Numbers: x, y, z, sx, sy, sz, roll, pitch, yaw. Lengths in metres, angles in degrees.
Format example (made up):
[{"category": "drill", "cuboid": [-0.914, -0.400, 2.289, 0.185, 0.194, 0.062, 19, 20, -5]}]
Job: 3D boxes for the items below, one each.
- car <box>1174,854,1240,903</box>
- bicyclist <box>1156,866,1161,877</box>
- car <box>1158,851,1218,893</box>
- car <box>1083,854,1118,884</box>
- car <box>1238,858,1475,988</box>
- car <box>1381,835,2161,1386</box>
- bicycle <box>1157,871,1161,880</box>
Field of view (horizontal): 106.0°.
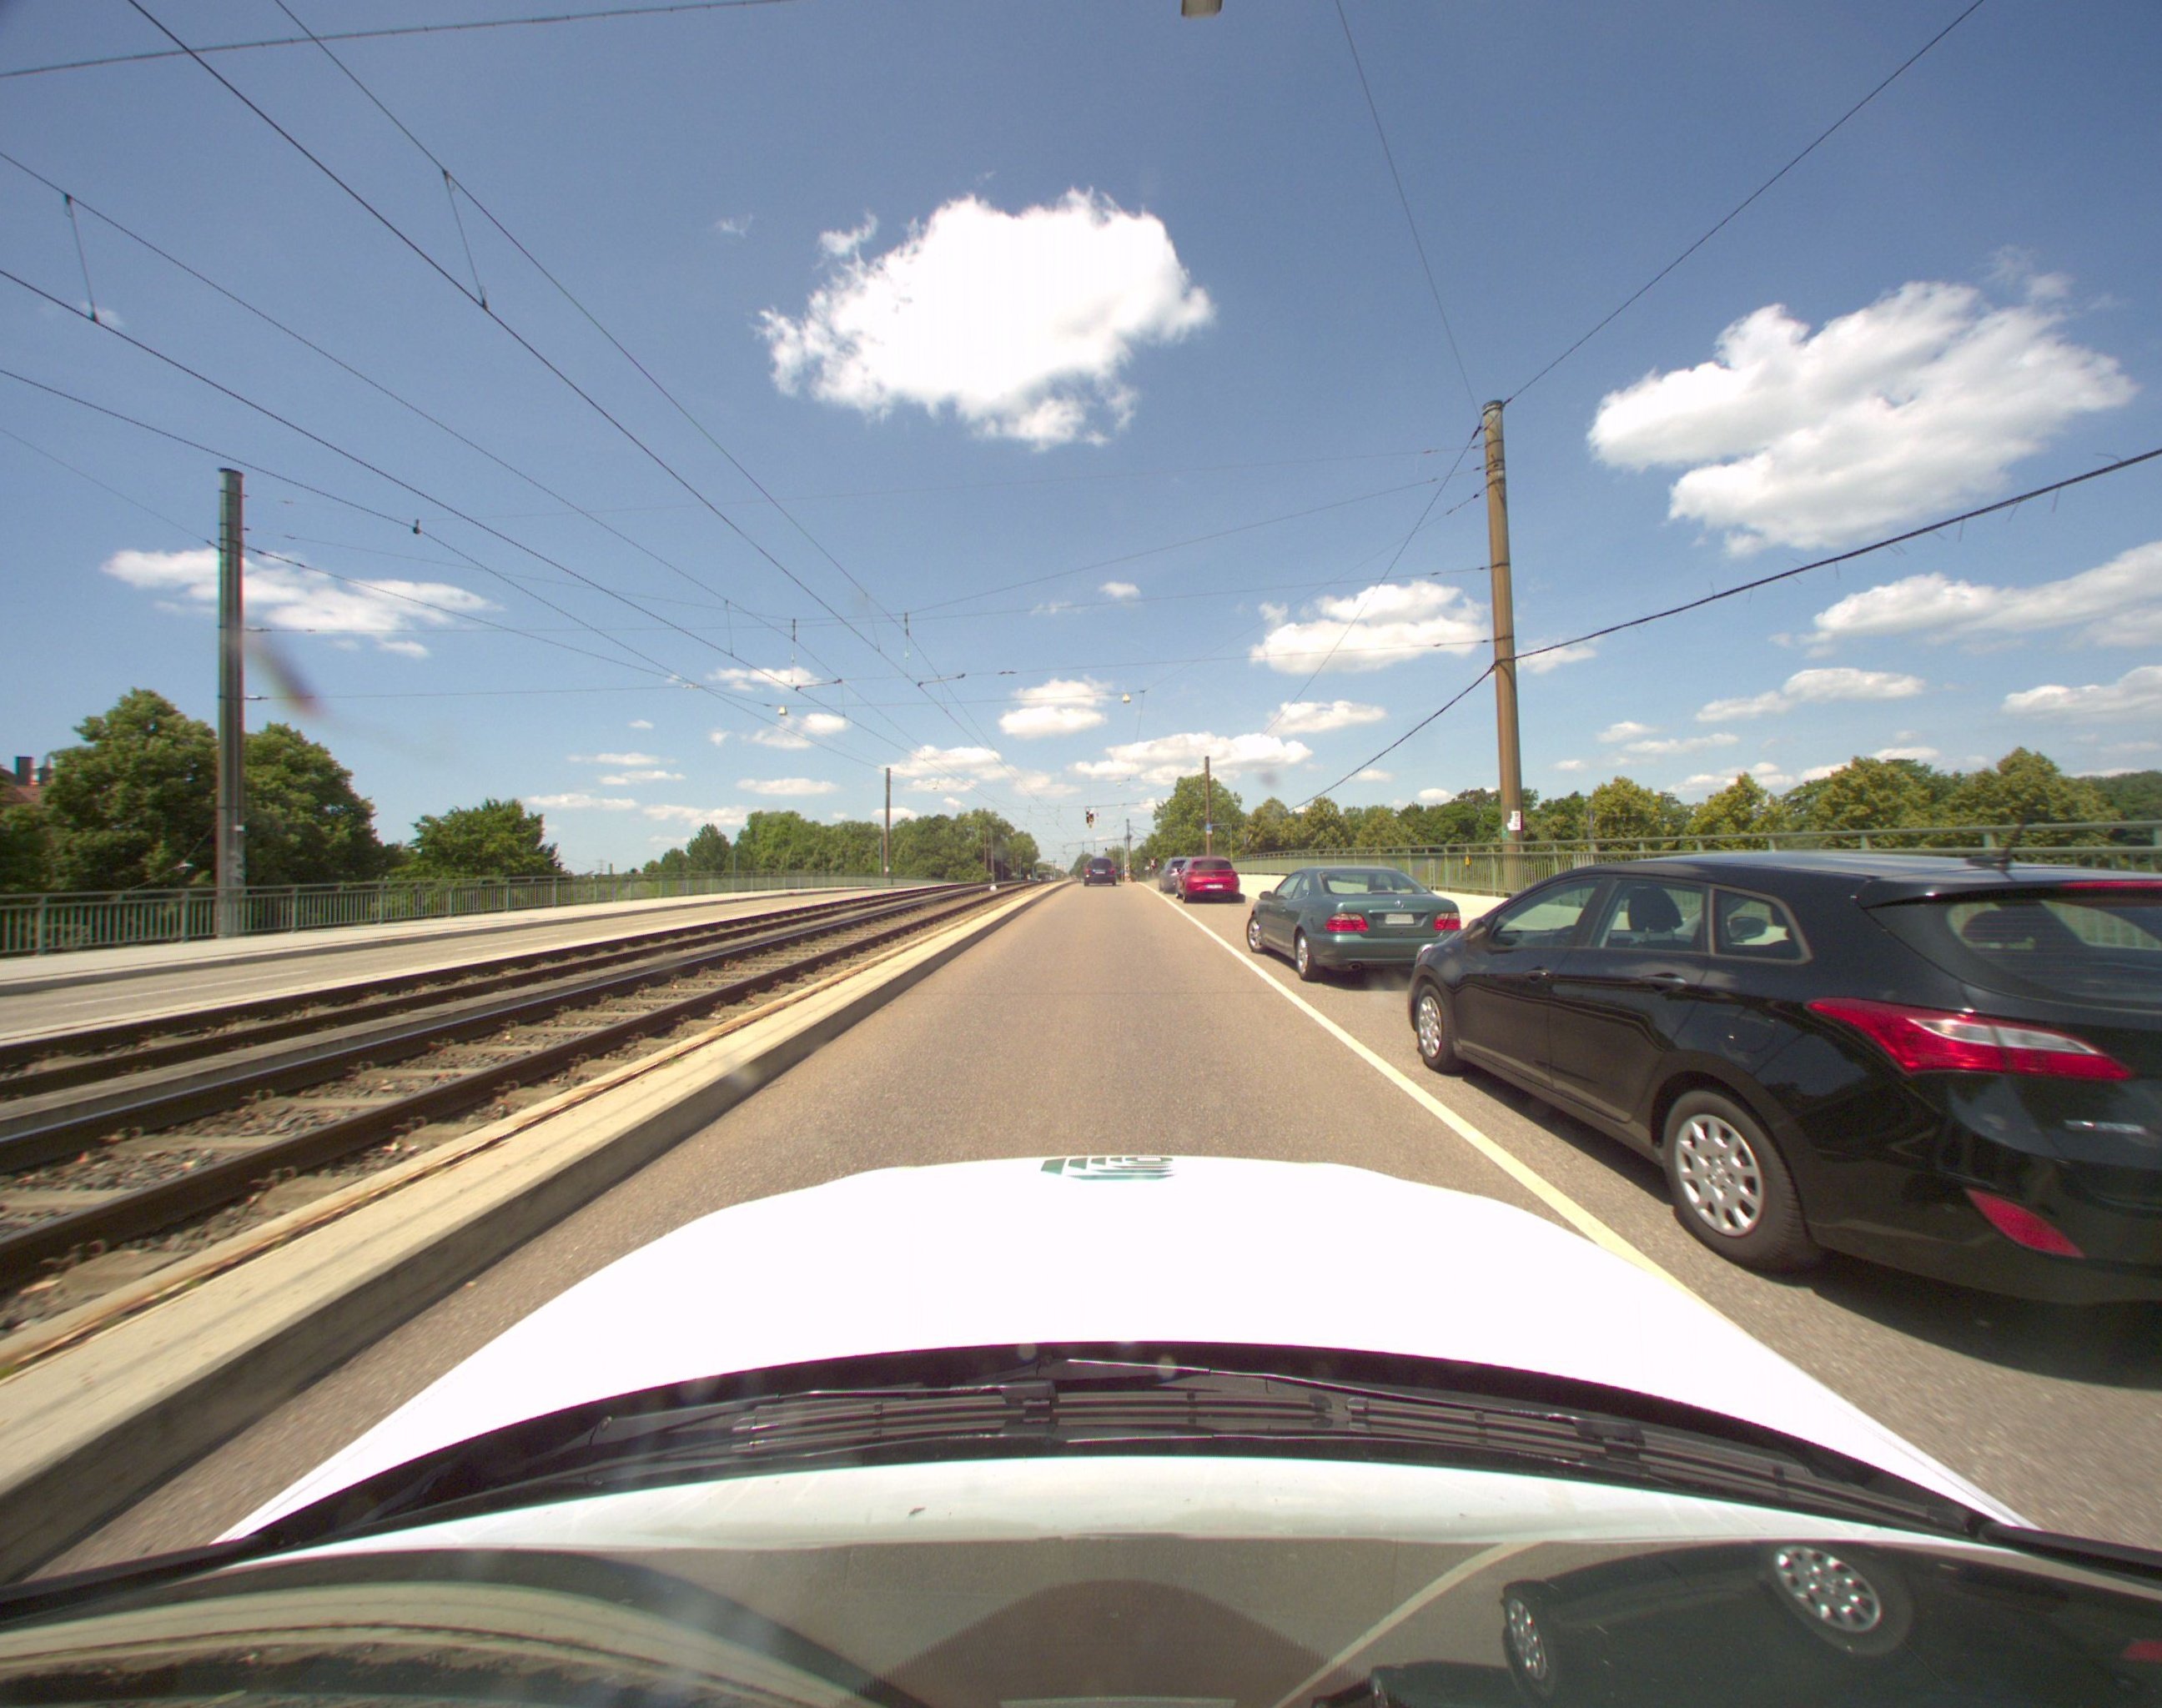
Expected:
[{"category": "car", "cuboid": [4.063, 0.730, 26.798, 1.641, 1.460, 4.287, -1, 0, 2]}, {"category": "bicyclist", "cuboid": [9.879, 2.220, 103.675, 0.583, 1.495, 0.558, 0, -1, 3]}, {"category": "car", "cuboid": [4.253, 0.687, 33.080, 1.986, 1.552, 4.724, 0, 0, 2]}, {"category": "car", "cuboid": [1.136, 0.822, 45.797, 1.846, 1.570, 4.390, -1, 0, 2]}, {"category": "car", "cuboid": [3.408, 0.750, 11.061, 1.679, 1.358, 4.592, 0, 0, 0]}, {"category": "car", "cuboid": [3.178, 0.666, 4.347, 1.629, 1.453, 4.389, -1, 0, 1]}, {"category": "bicycle", "cuboid": [9.883, 2.762, 103.629, 0.430, 1.152, 1.856, 0, -1, 3]}]
